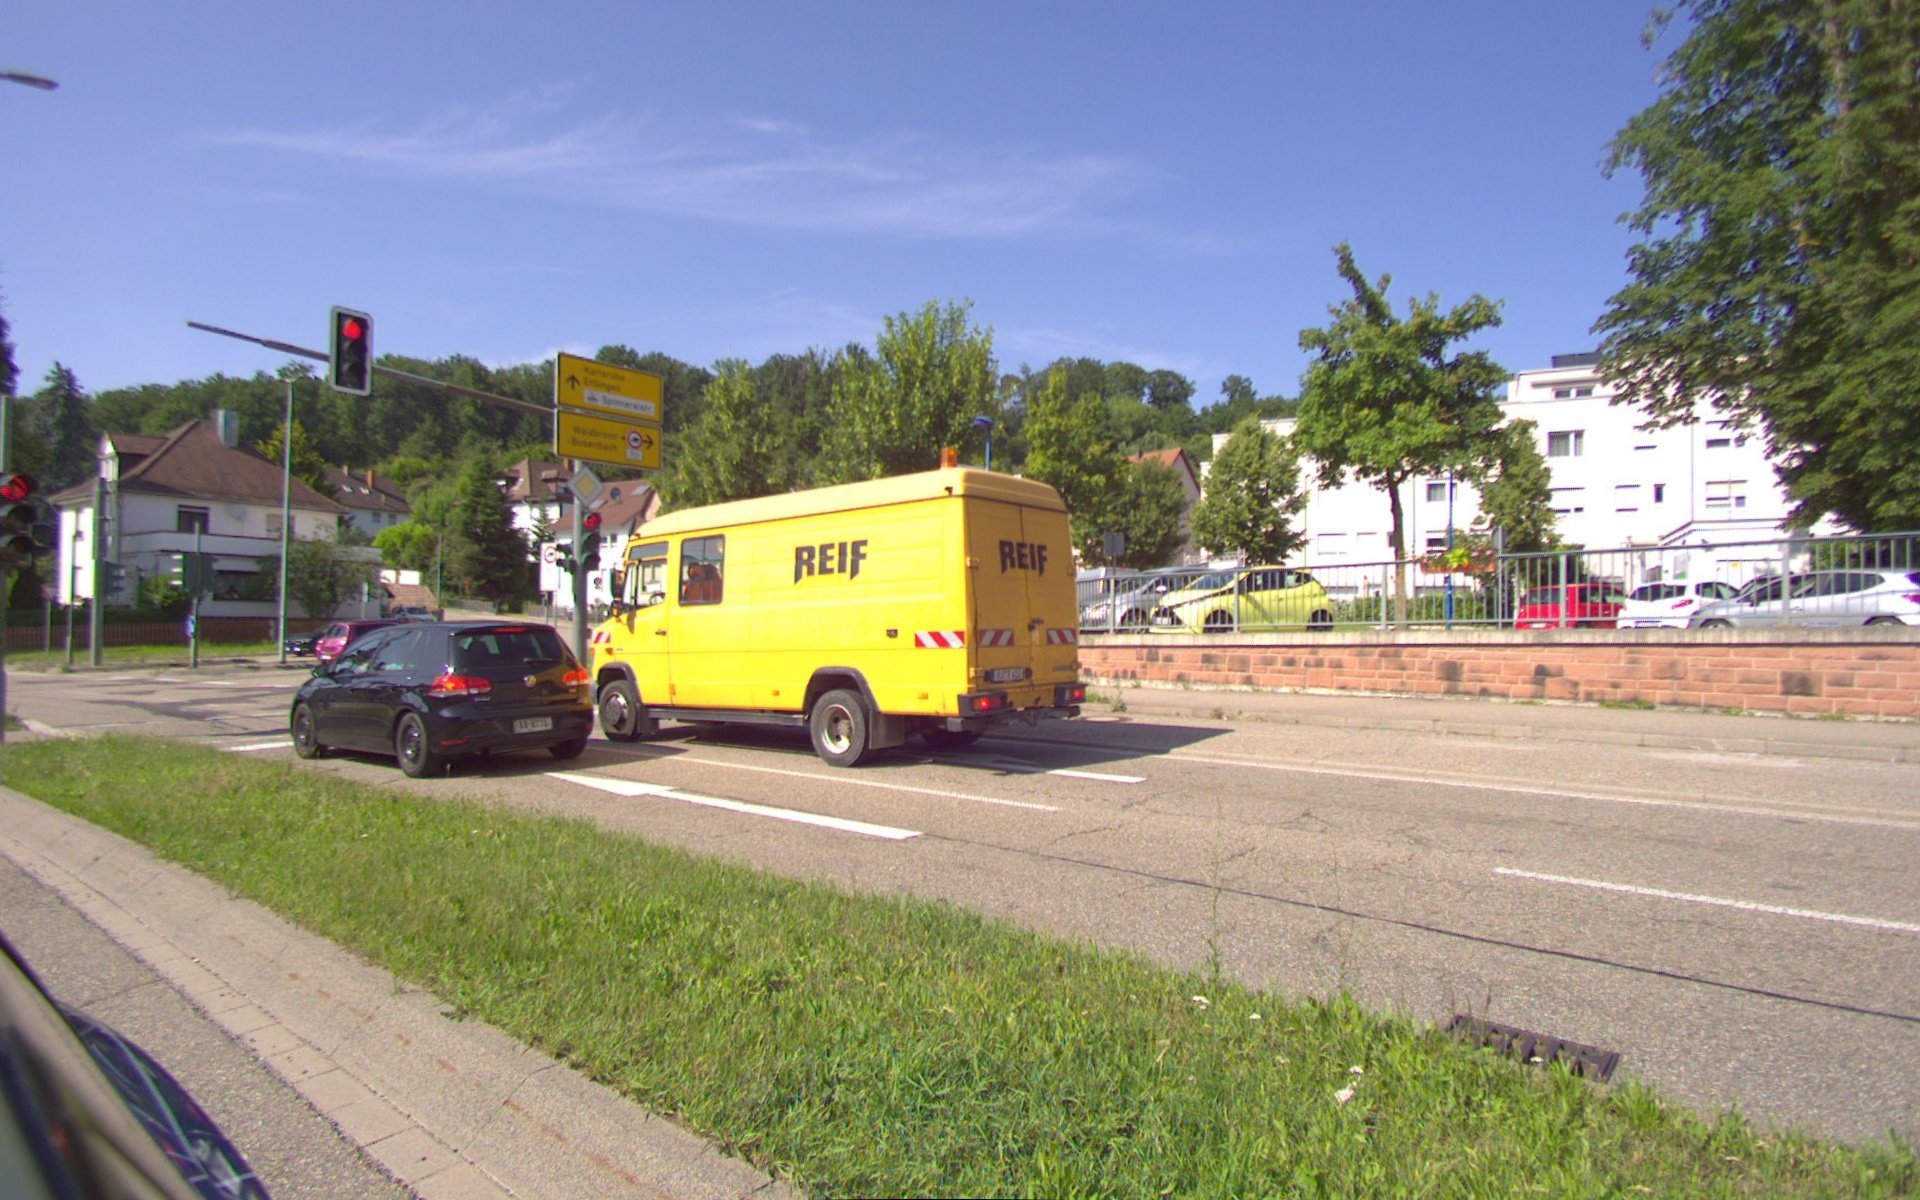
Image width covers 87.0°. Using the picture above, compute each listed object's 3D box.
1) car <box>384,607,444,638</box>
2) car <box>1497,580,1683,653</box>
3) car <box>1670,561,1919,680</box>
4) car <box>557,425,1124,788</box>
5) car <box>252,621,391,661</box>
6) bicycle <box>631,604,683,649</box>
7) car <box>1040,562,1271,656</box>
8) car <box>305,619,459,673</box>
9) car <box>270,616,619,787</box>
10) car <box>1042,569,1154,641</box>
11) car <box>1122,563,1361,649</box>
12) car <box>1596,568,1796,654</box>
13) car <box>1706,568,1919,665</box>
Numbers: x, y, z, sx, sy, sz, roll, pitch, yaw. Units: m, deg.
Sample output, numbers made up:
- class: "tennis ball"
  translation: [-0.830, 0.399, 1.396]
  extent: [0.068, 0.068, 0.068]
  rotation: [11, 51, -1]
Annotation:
- class: "car"
  translation: [-33.085, 1.373, 61.261]
  extent: [3.999, 1.649, 1.914]
  rotation: [-3, -1, 42]
- class: "car"
  translation: [15.753, 0.396, 25.335]
  extent: [3.931, 1.571, 1.920]
  rotation: [-2, -1, -21]
- class: "car"
  translation: [14.877, 0.344, 17.353]
  extent: [1.888, 1.803, 4.013]
  rotation: [0, -1, -21]
- class: "car"
  translation: [-1.629, 0.098, 11.409]
  extent: [6.456, 3.033, 2.444]
  rotation: [-1, 0, 38]
- class: "car"
  translation: [-26.971, 1.703, 42.933]
  extent: [1.969, 1.495, 4.712]
  rotation: [-3, -1, 24]
- class: "bicycle"
  translation: [-9.315, 0.817, 31.083]
  extent: [1.756, 1.265, 0.612]
  rotation: [-5, 1, 42]
- class: "car"
  translation: [4.167, 0.165, 21.670]
  extent: [4.339, 1.709, 2.064]
  rotation: [-3, 0, -21]
- class: "car"
  translation: [-18.074, 1.421, 31.813]
  extent: [1.657, 1.545, 3.910]
  rotation: [-2, -2, 33]
- class: "car"
  translation: [-5.509, 0.929, 10.639]
  extent: [4.037, 1.474, 1.729]
  rotation: [-2, -2, 38]
- class: "car"
  translation: [5.138, 0.216, 38.656]
  extent: [2.065, 2.462, 5.801]
  rotation: [-2, 0, -15]
- class: "car"
  translation: [5.325, 0.105, 19.223]
  extent: [3.931, 1.392, 1.920]
  rotation: [-2, -1, -21]
- class: "car"
  translation: [16.786, 0.239, 23.103]
  extent: [3.931, 1.714, 1.920]
  rotation: [-3, -1, -24]
- class: "car"
  translation: [17.347, 0.288, 20.199]
  extent: [3.931, 1.684, 2.006]
  rotation: [-2, -1, -19]
